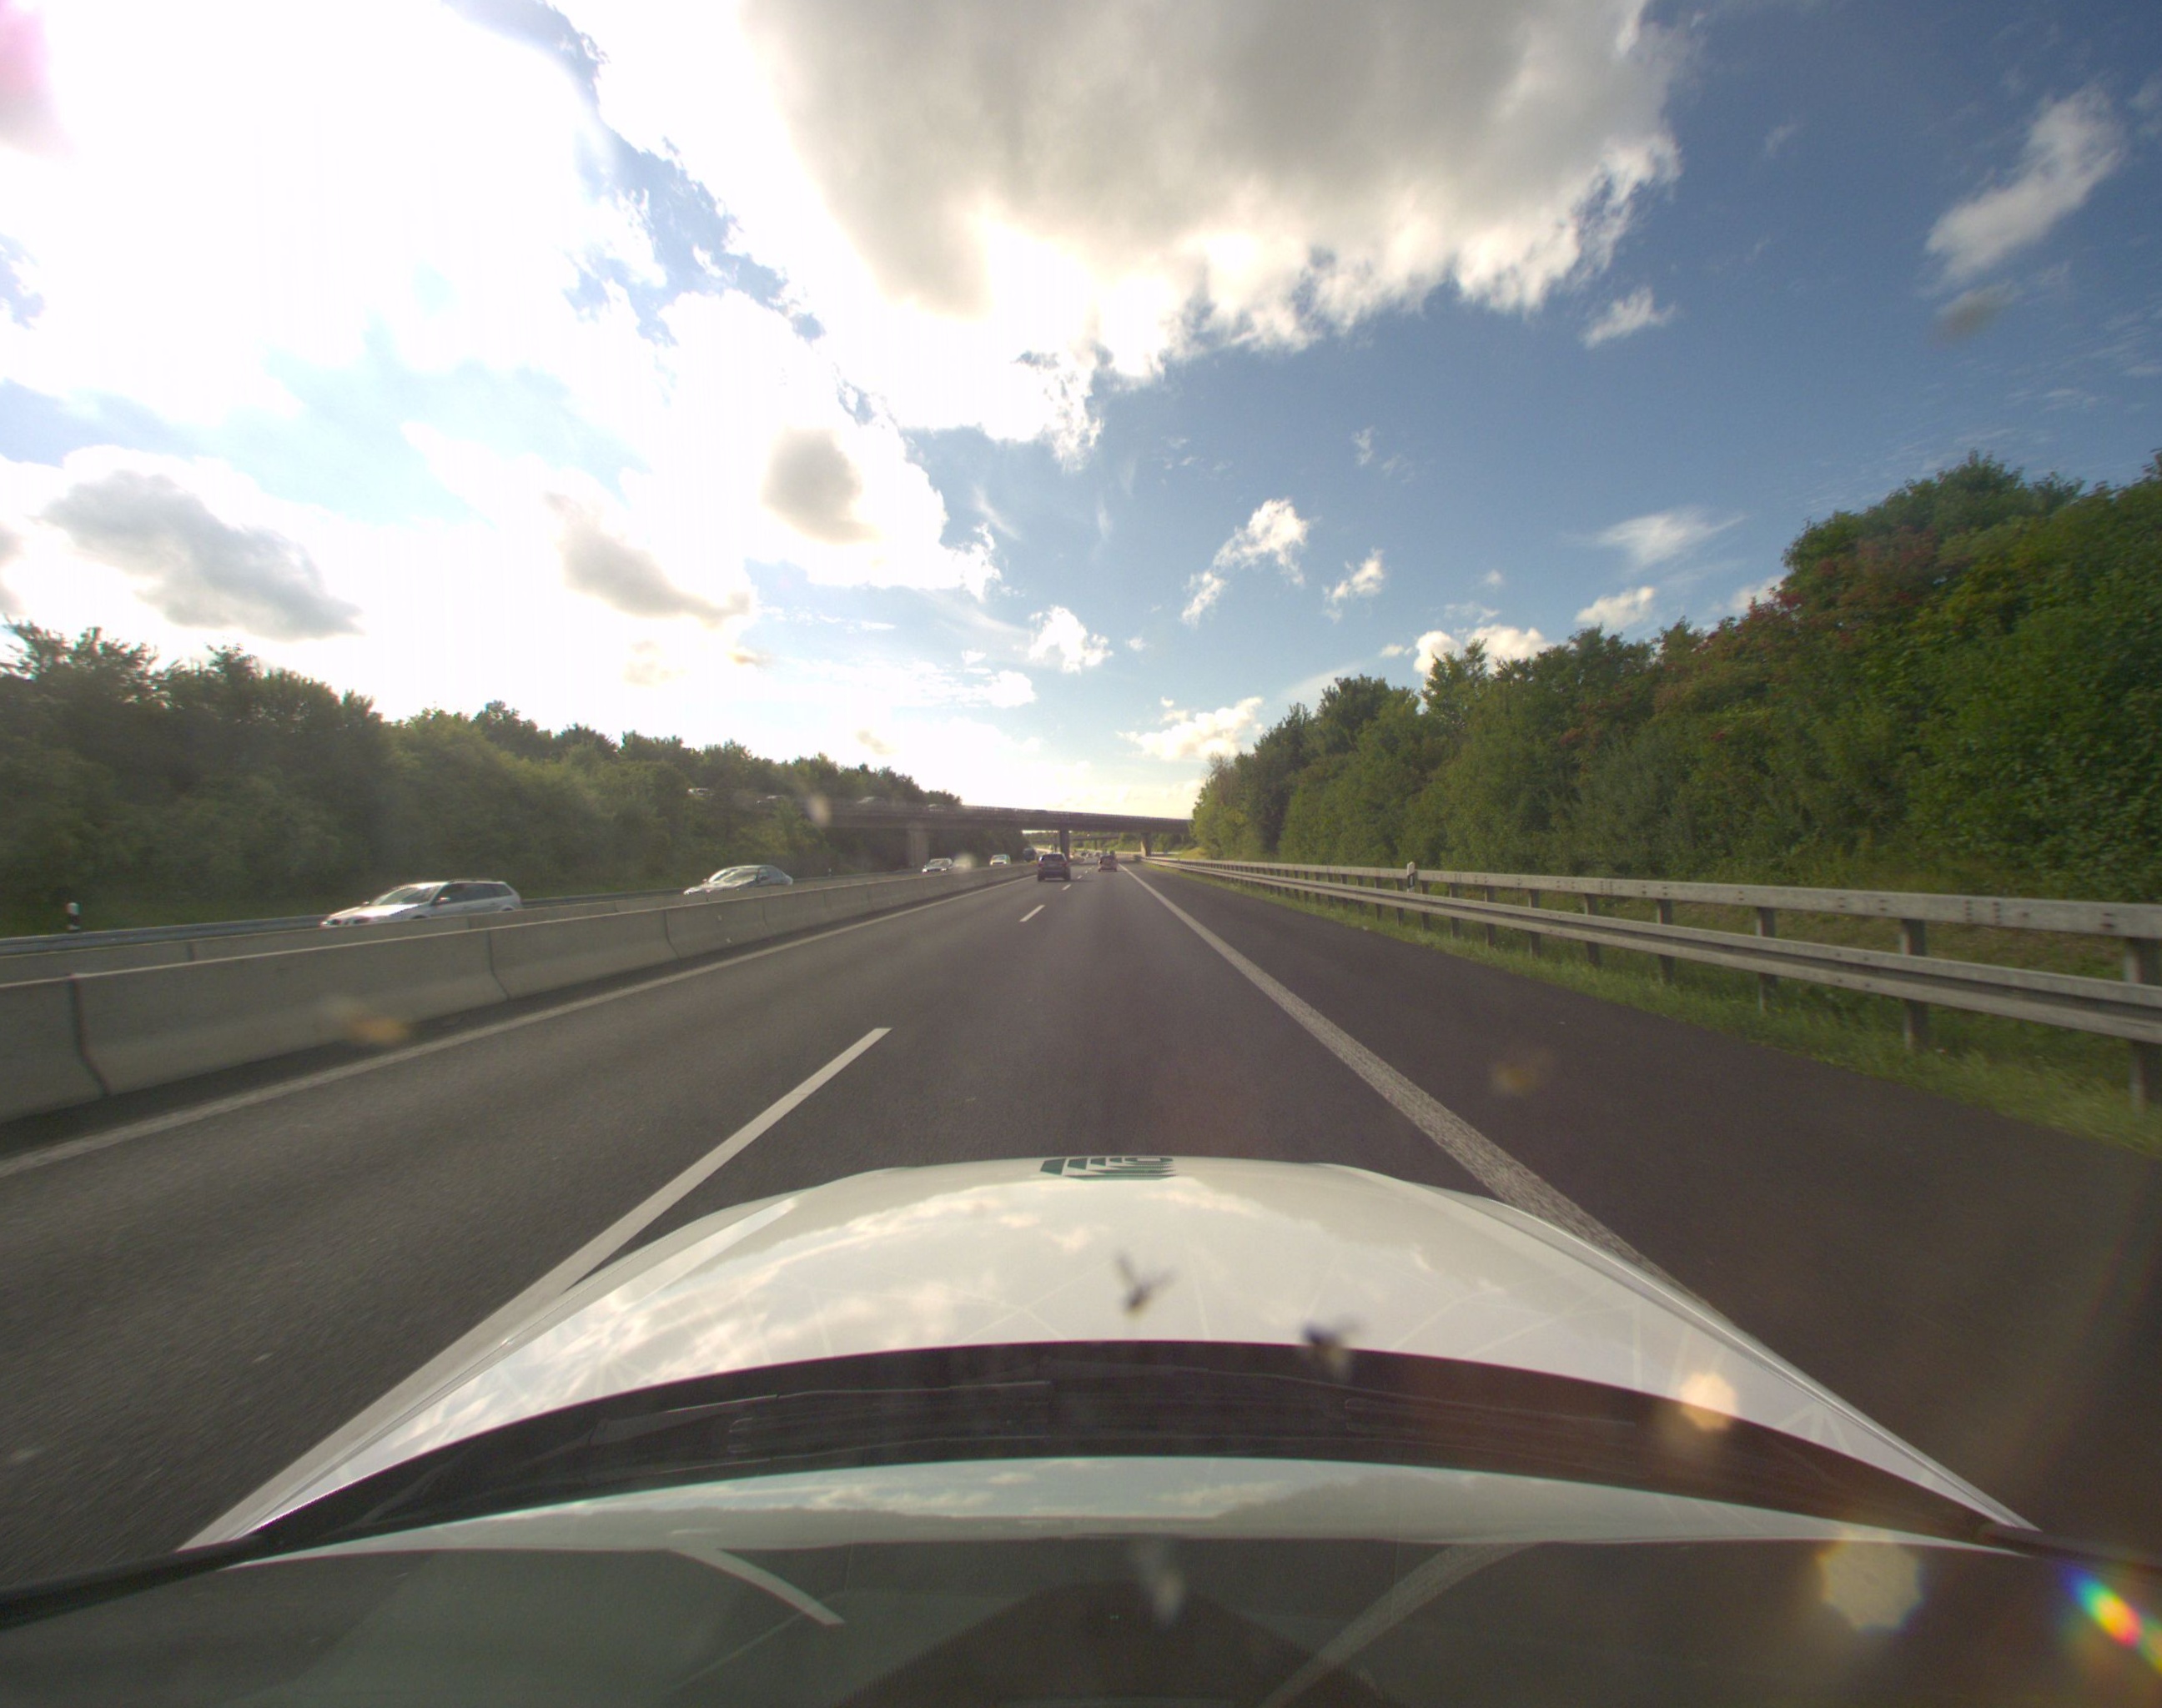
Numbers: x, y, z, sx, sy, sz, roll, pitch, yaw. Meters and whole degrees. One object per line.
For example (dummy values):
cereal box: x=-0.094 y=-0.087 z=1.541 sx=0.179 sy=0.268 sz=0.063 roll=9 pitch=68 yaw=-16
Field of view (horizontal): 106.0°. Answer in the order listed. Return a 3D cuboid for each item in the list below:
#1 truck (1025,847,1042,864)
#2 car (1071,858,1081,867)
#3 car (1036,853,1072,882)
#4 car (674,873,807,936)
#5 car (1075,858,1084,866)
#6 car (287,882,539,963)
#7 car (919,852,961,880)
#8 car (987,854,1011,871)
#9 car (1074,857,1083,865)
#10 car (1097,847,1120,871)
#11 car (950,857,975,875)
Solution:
truck: x=-10.381 y=0.390 z=177.195 sx=2.666 sy=3.446 sz=9.832 roll=-3 pitch=0 yaw=2
car: x=-1.195 y=2.029 z=195.355 sx=1.986 sy=2.013 sz=4.001 roll=-3 pitch=0 yaw=2
car: x=-1.587 y=0.776 z=49.508 sx=1.742 sy=1.630 sz=3.612 roll=-3 pitch=0 yaw=3
car: x=-11.001 y=1.558 z=26.801 sx=1.986 sy=1.648 sz=5.197 roll=-3 pitch=0 yaw=2
car: x=-0.452 y=2.029 z=205.071 sx=1.986 sy=2.013 sz=4.001 roll=-3 pitch=0 yaw=2
car: x=-15.635 y=1.523 z=19.501 sx=1.986 sy=1.436 sz=4.726 roll=-3 pitch=0 yaw=2
car: x=-10.320 y=0.868 z=60.111 sx=1.986 sy=1.896 sz=5.142 roll=-3 pitch=0 yaw=2
car: x=-9.449 y=0.968 z=94.233 sx=1.986 sy=1.896 sz=5.191 roll=-3 pitch=0 yaw=2
car: x=-0.647 y=1.820 z=215.927 sx=1.986 sy=2.013 sz=4.001 roll=-3 pitch=0 yaw=2
car: x=2.559 y=0.430 z=76.114 sx=1.986 sy=2.080 sz=4.002 roll=-3 pitch=0 yaw=2
car: x=-13.610 y=1.311 z=93.615 sx=1.986 sy=1.896 sz=4.824 roll=-3 pitch=0 yaw=2
